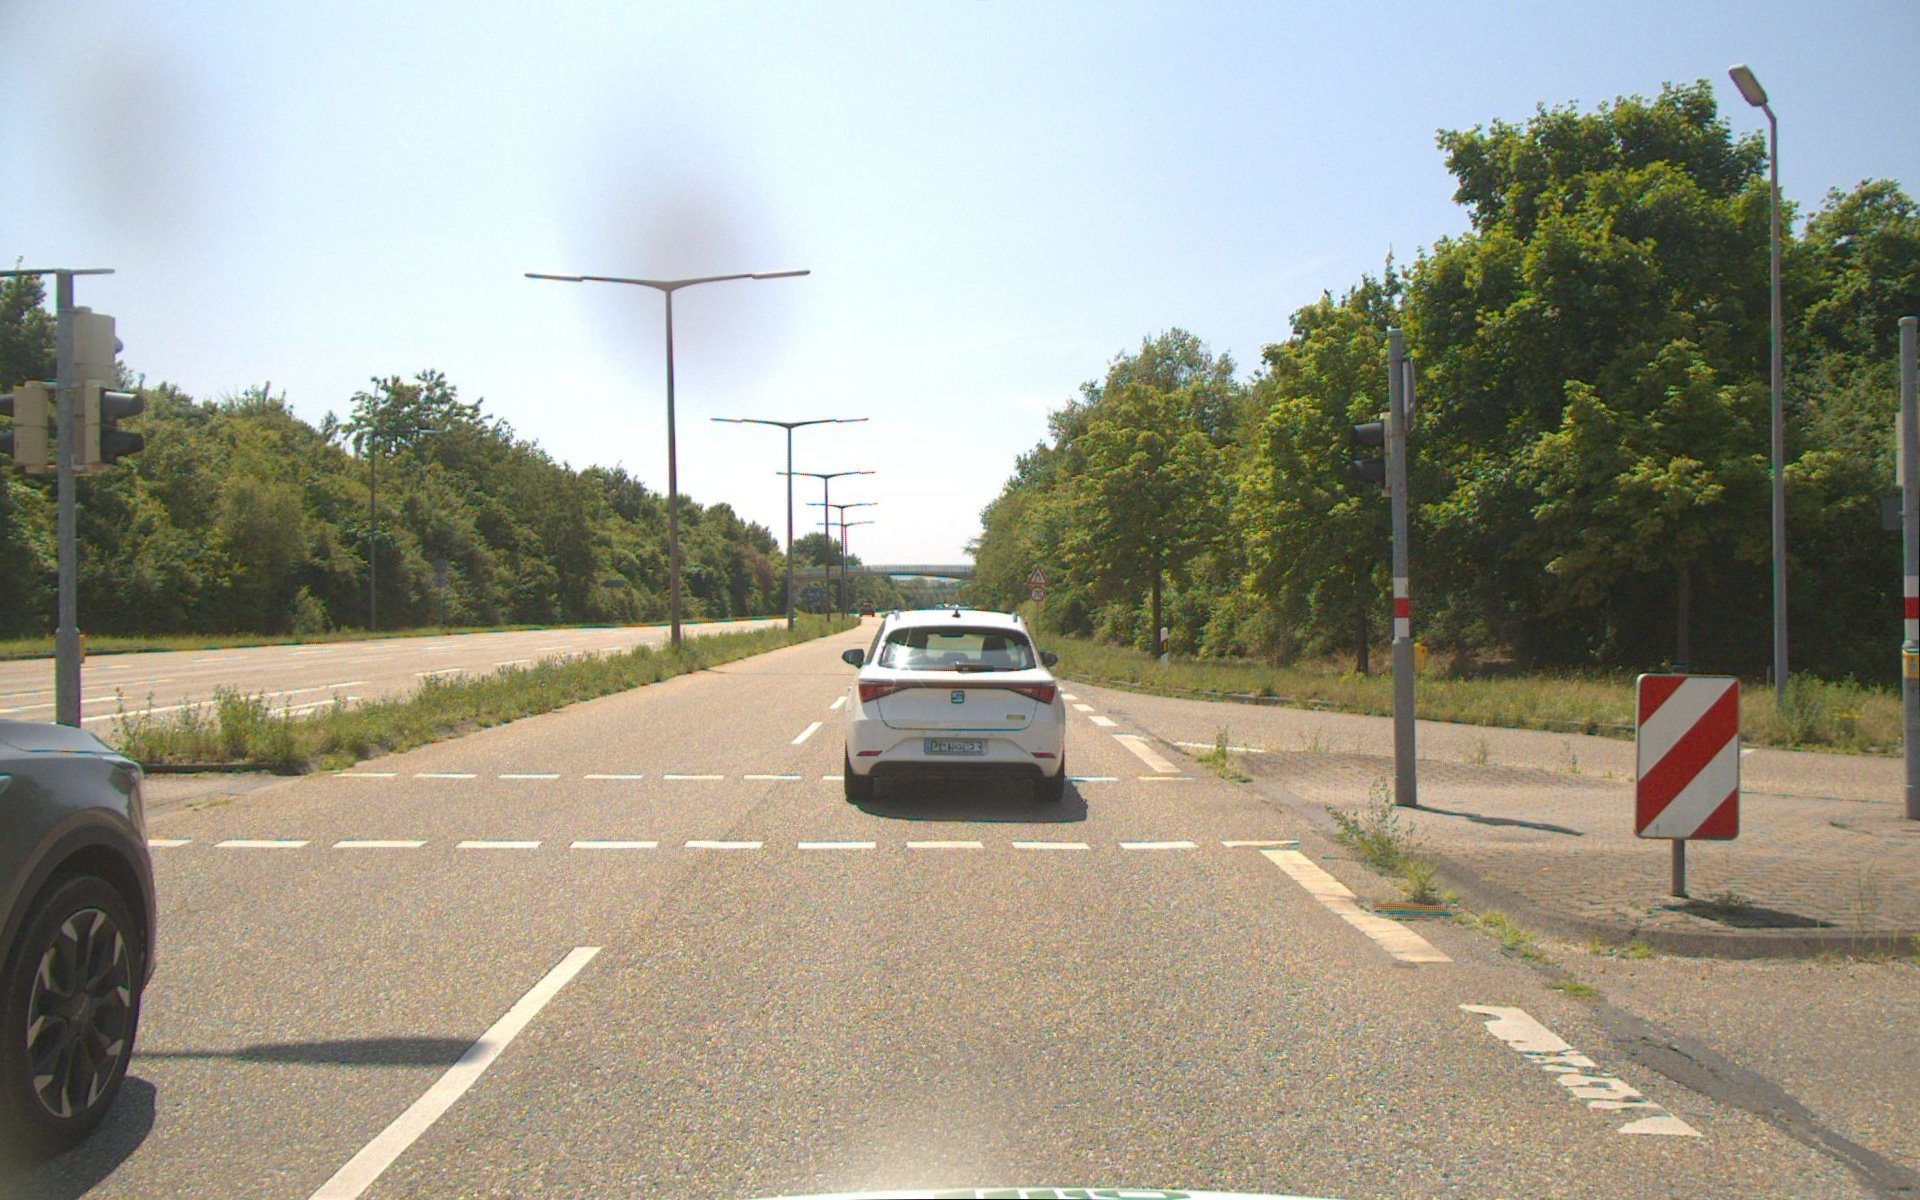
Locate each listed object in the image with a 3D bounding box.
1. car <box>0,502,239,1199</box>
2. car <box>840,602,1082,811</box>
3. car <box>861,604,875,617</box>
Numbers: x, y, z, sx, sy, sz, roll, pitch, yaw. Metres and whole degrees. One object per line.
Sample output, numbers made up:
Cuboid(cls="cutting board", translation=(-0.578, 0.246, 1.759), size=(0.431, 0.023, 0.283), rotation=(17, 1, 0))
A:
Cuboid(cls="car", translation=(-3.144, 0.612, 2.868), size=(1.767, 1.691, 4.643), rotation=(0, 0, 0))
Cuboid(cls="car", translation=(0.003, 0.783, 13.644), size=(1.699, 1.453, 3.694), rotation=(1, -1, 0))
Cuboid(cls="car", translation=(-12.779, 1.483, 228.830), size=(1.818, 1.739, 3.998), rotation=(-2, 0, -3))
